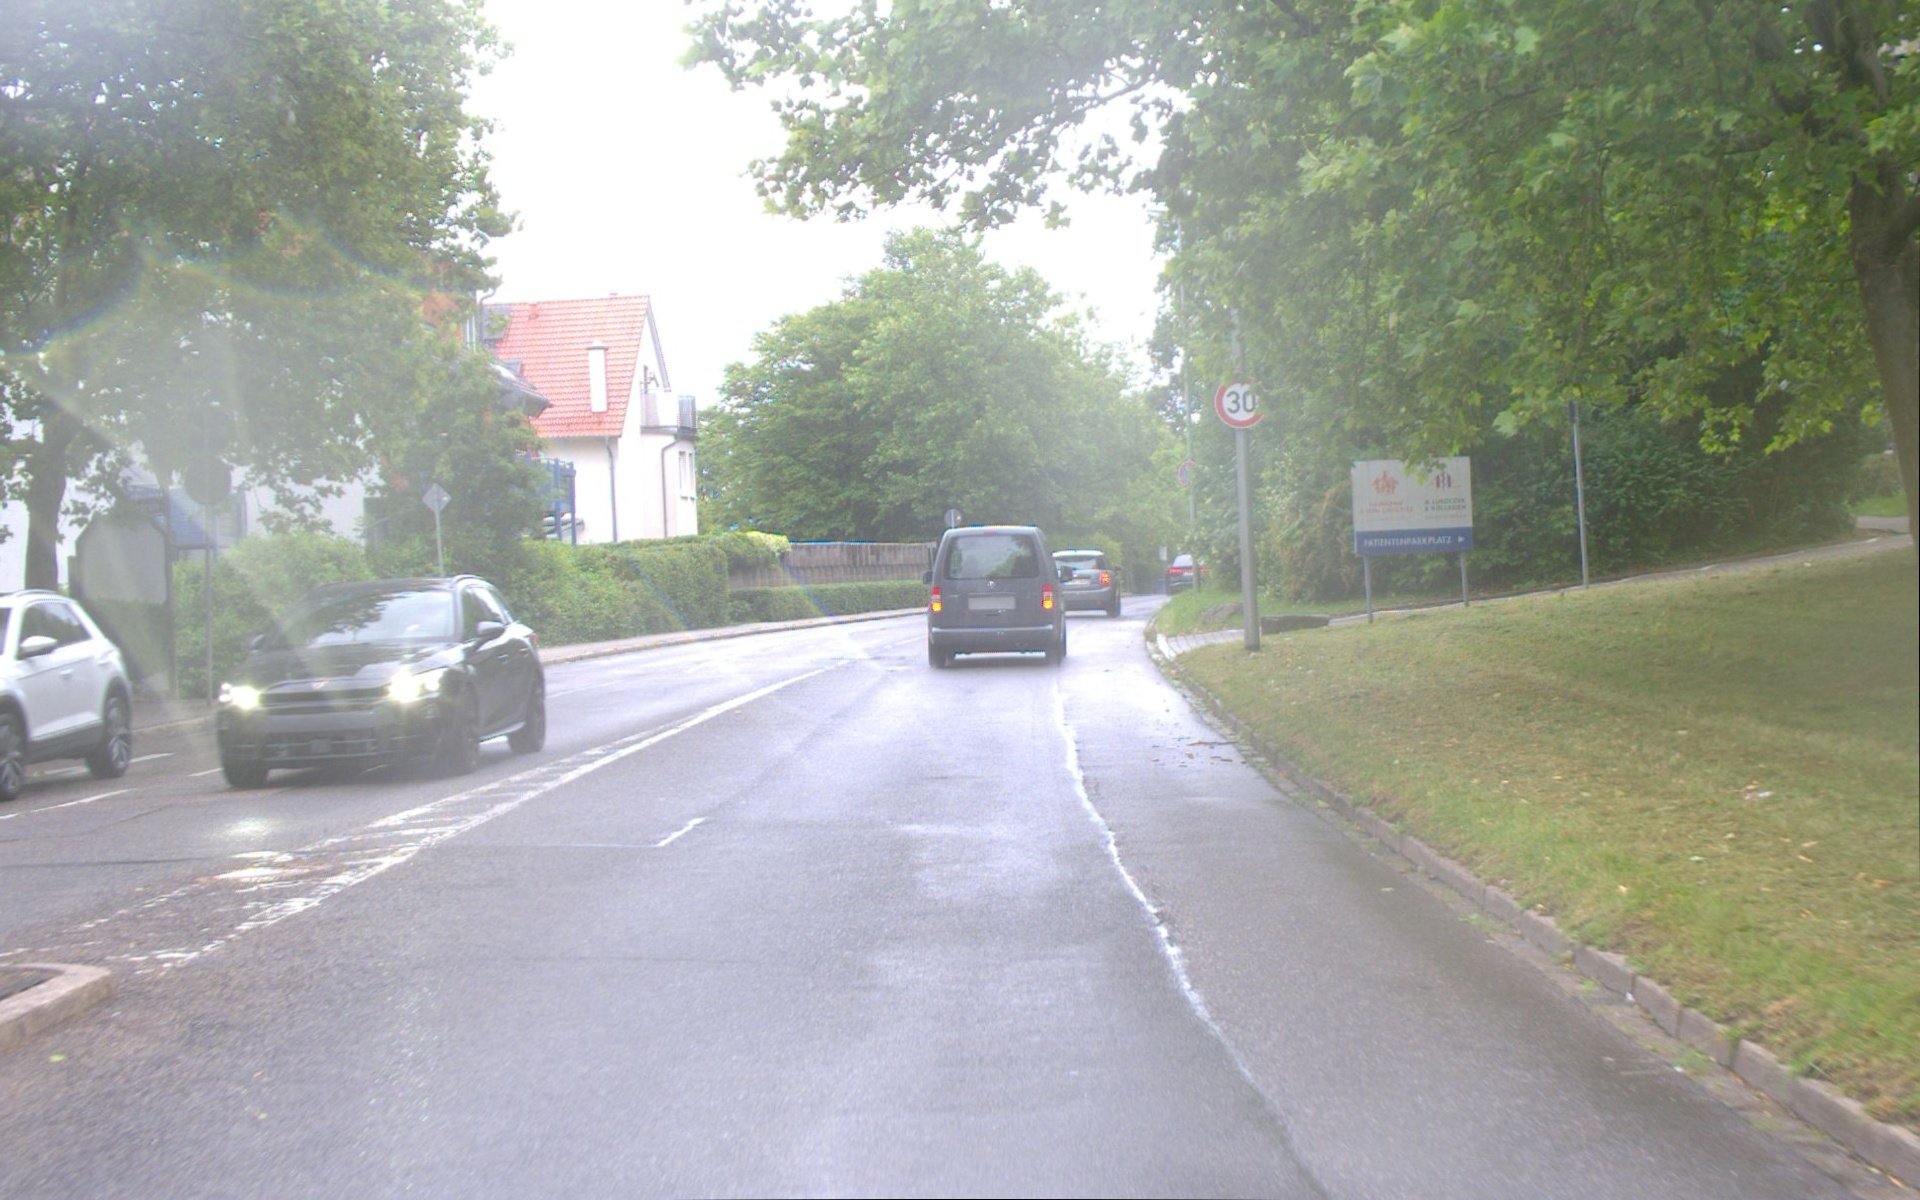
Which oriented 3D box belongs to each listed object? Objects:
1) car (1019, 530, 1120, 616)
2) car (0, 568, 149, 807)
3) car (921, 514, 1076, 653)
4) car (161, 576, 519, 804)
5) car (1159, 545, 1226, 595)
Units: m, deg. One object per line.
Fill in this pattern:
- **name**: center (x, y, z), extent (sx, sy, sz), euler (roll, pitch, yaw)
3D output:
- **car**: center (2.419, -0.613, 74.988), extent (1.950, 1.744, 4.000), euler (-3, 1, 4)
- **car**: center (-7.853, 0.664, 26.438), extent (1.994, 1.678, 4.000), euler (-3, 1, 4)
- **car**: center (0.481, -0.251, 46.046), extent (1.993, 1.787, 4.000), euler (0, 1, 0)
- **car**: center (-4.535, 0.603, 25.795), extent (1.993, 1.424, 4.388), euler (-3, 1, -2)
- **car**: center (8.264, -1.059, 121.709), extent (1.994, 1.744, 3.998), euler (0, 0, 9)
